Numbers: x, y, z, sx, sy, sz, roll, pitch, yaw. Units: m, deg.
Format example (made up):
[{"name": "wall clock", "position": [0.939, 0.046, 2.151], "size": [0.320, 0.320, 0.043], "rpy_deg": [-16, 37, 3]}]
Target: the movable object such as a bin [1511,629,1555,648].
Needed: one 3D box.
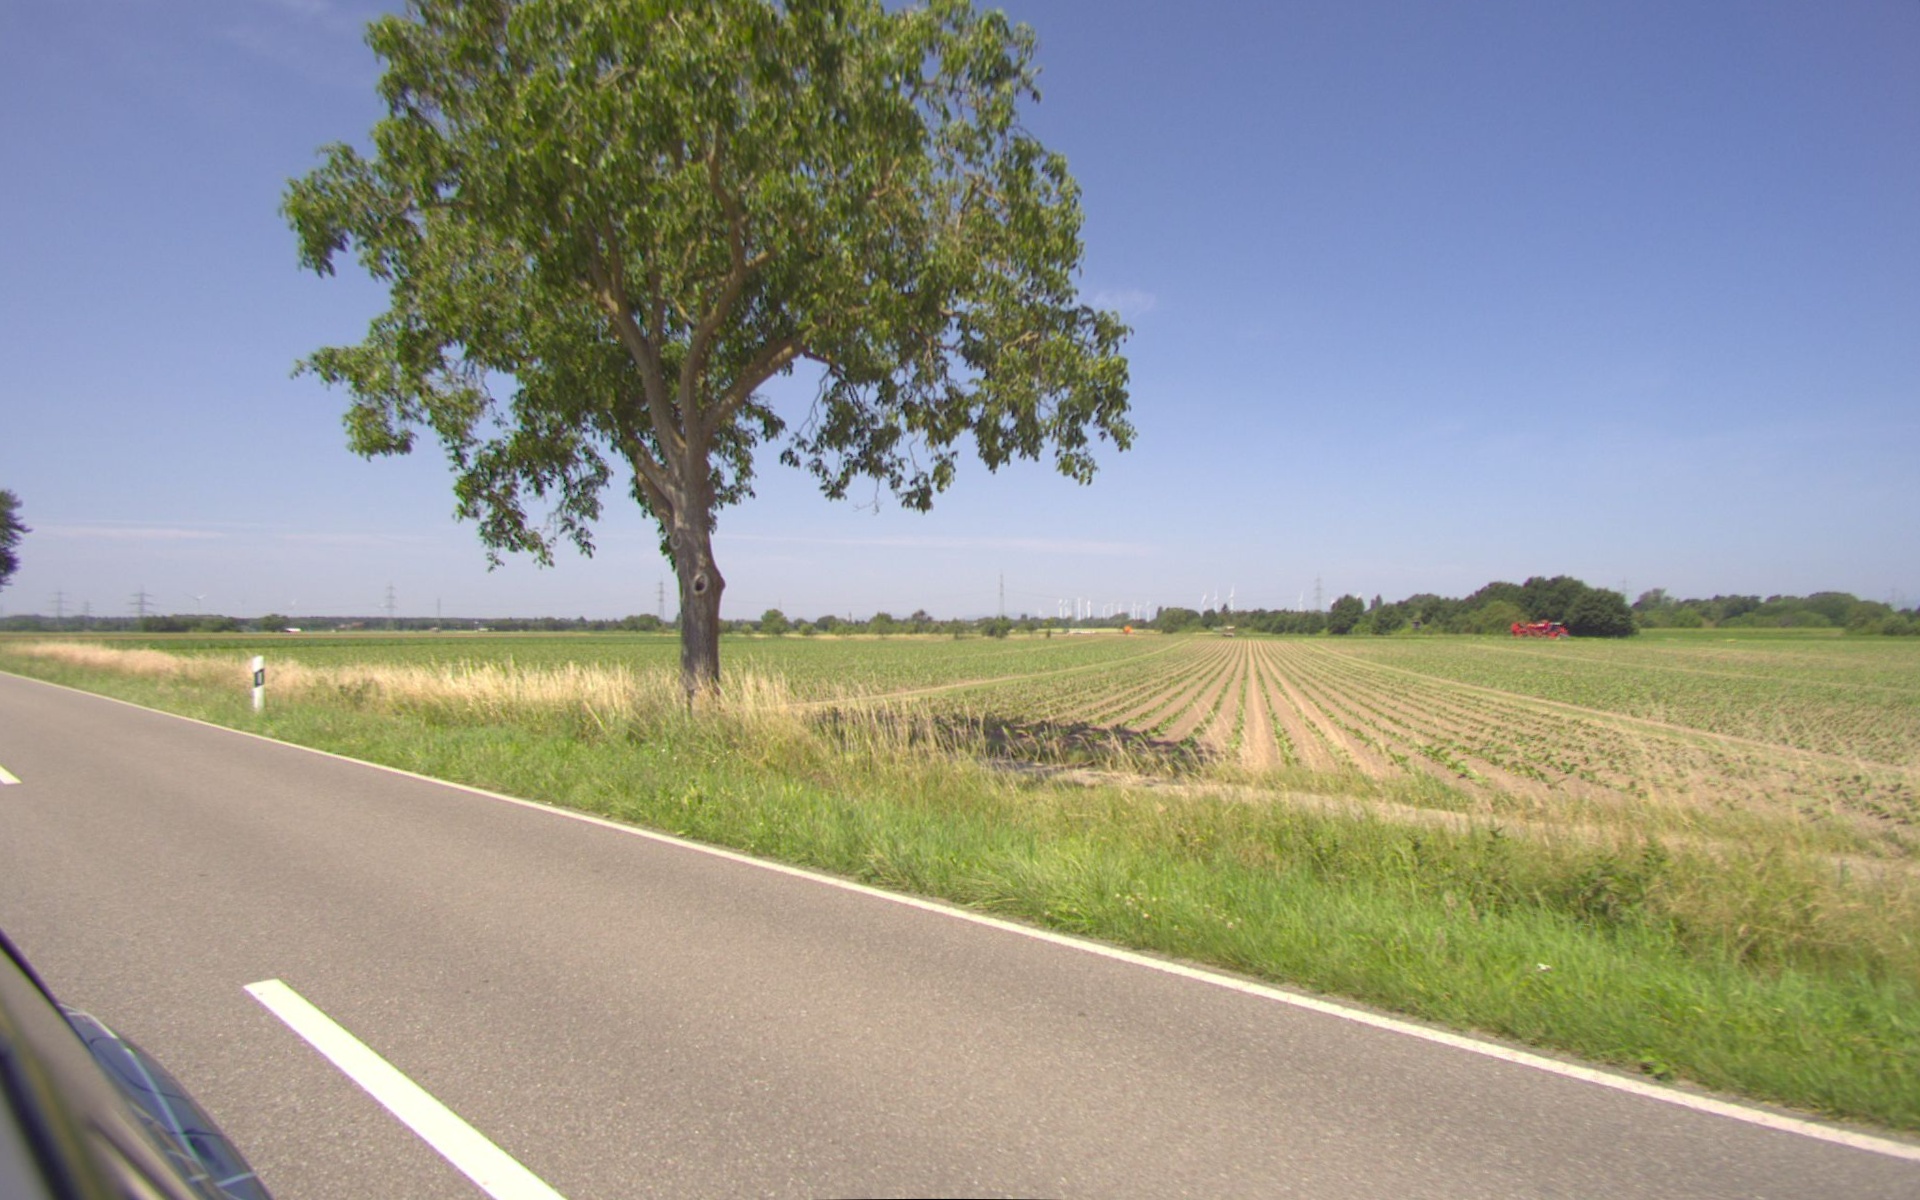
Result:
[{"name": "movable object such as a bin", "position": [123.621, 8.336, 218.585], "size": [2.506, 3.878, 9.998], "rpy_deg": [1, -3, -9]}]
